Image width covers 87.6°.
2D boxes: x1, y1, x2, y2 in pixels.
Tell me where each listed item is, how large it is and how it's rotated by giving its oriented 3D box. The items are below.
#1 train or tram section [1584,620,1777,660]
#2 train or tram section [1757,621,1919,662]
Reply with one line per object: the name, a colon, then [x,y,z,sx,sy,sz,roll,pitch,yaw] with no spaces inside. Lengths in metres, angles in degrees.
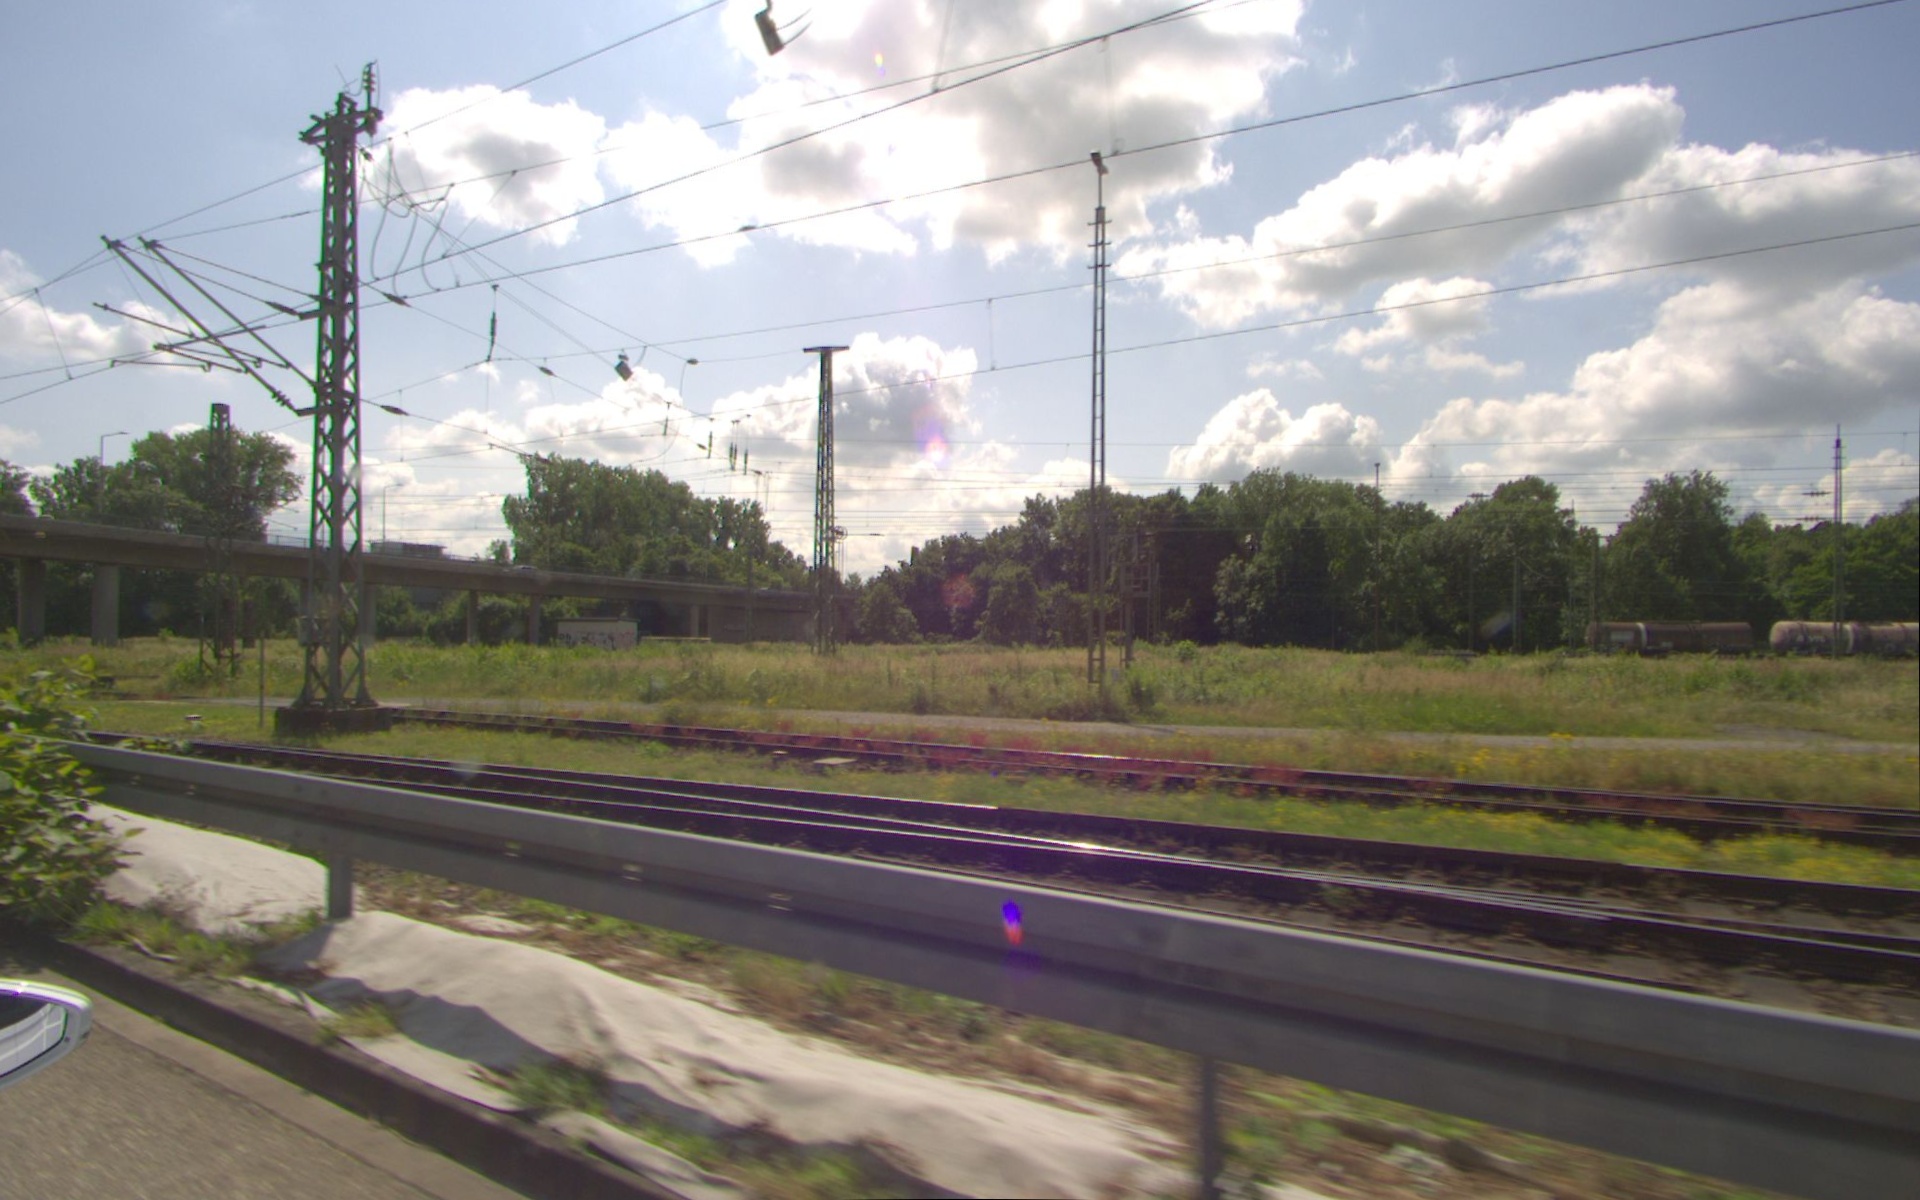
train or tram section: [63.420,3.538,88.568,13.679,3.347,3.033,0,-2,13]
train or tram section: [77.641,3.524,85.196,15.465,3.347,3.033,0,-2,13]
